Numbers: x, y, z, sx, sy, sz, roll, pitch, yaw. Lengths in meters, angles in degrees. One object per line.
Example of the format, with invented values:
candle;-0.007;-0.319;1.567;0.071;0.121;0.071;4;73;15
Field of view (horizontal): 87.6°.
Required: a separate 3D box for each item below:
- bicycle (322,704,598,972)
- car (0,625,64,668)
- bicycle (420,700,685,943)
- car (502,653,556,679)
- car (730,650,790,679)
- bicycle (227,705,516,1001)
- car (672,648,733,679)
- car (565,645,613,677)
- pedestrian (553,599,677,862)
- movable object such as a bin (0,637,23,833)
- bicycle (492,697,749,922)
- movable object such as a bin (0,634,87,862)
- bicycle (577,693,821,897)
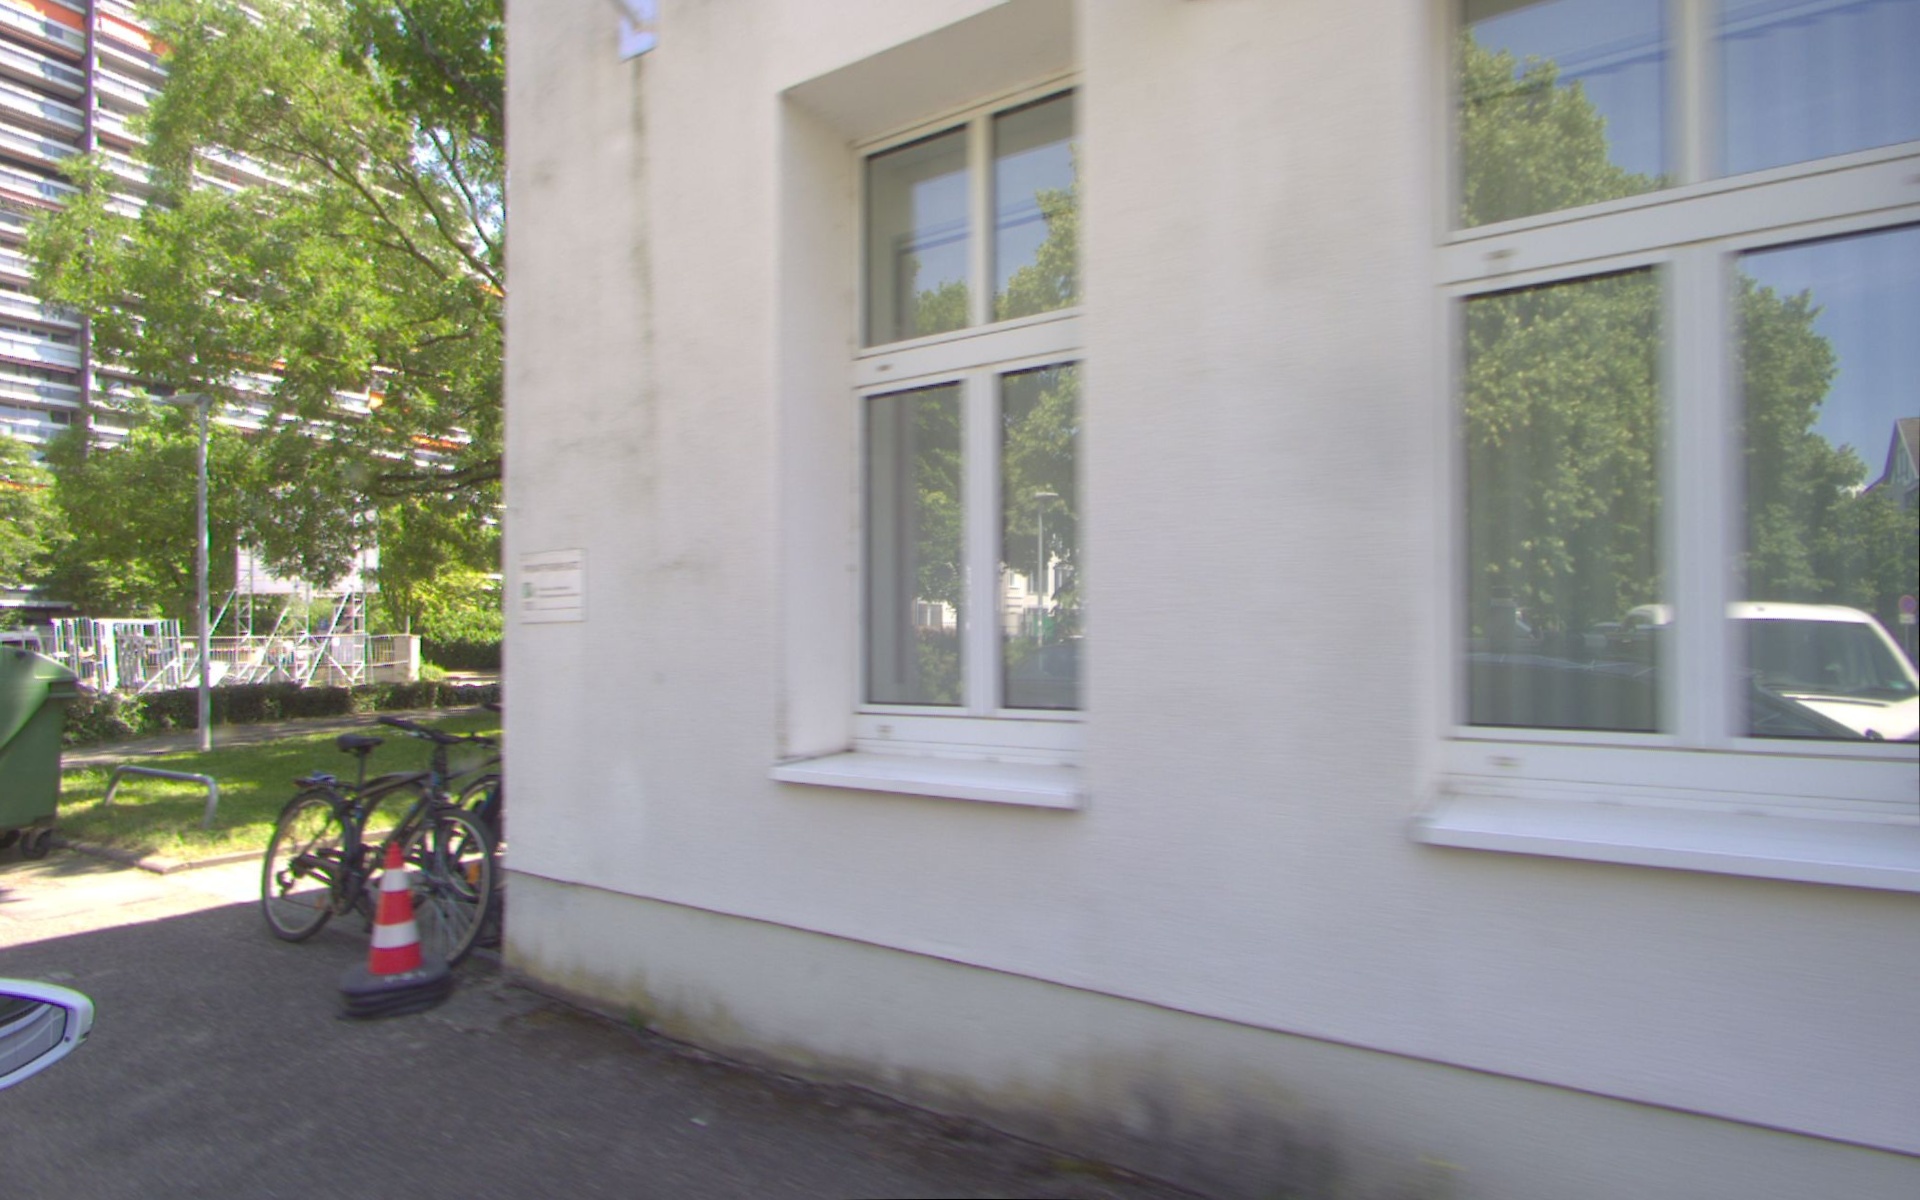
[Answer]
bicycle;-2.590;1.123;5.104;1.801;1.115;0.404;-2;-2;33
car;-51.747;2.585;55.785;2.164;2.286;4.837;1;-3;-35
bicycle;-2.289;1.139;5.522;1.801;1.115;0.404;-2;-2;33
car;-23.157;3.515;53.762;1.897;1.327;3.905;1;-3;-35
car;-10.644;3.398;53.051;1.650;1.433;3.684;1;-3;-38
bicycle;-2.797;1.082;4.681;1.801;1.115;0.404;-2;-2;33
car;-13.796;3.369;53.578;1.652;1.609;3.660;1;-3;-42
car;-20.022;3.261;53.934;1.987;1.650;3.916;1;-3;-27
pedestrian;-2.471;0.901;7.180;0.680;1.770;0.549;-2;-2;34
movable object such as a bin;-8.036;1.031;7.595;1.358;1.476;1.073;-2;-2;34
bicycle;-2.035;1.153;5.879;1.801;1.115;0.404;-2;-2;33
movable object such as a bin;-6.855;0.981;6.801;1.358;1.476;1.073;-2;-2;34
bicycle;-1.705;1.173;6.389;1.801;1.115;0.404;-2;-2;33
